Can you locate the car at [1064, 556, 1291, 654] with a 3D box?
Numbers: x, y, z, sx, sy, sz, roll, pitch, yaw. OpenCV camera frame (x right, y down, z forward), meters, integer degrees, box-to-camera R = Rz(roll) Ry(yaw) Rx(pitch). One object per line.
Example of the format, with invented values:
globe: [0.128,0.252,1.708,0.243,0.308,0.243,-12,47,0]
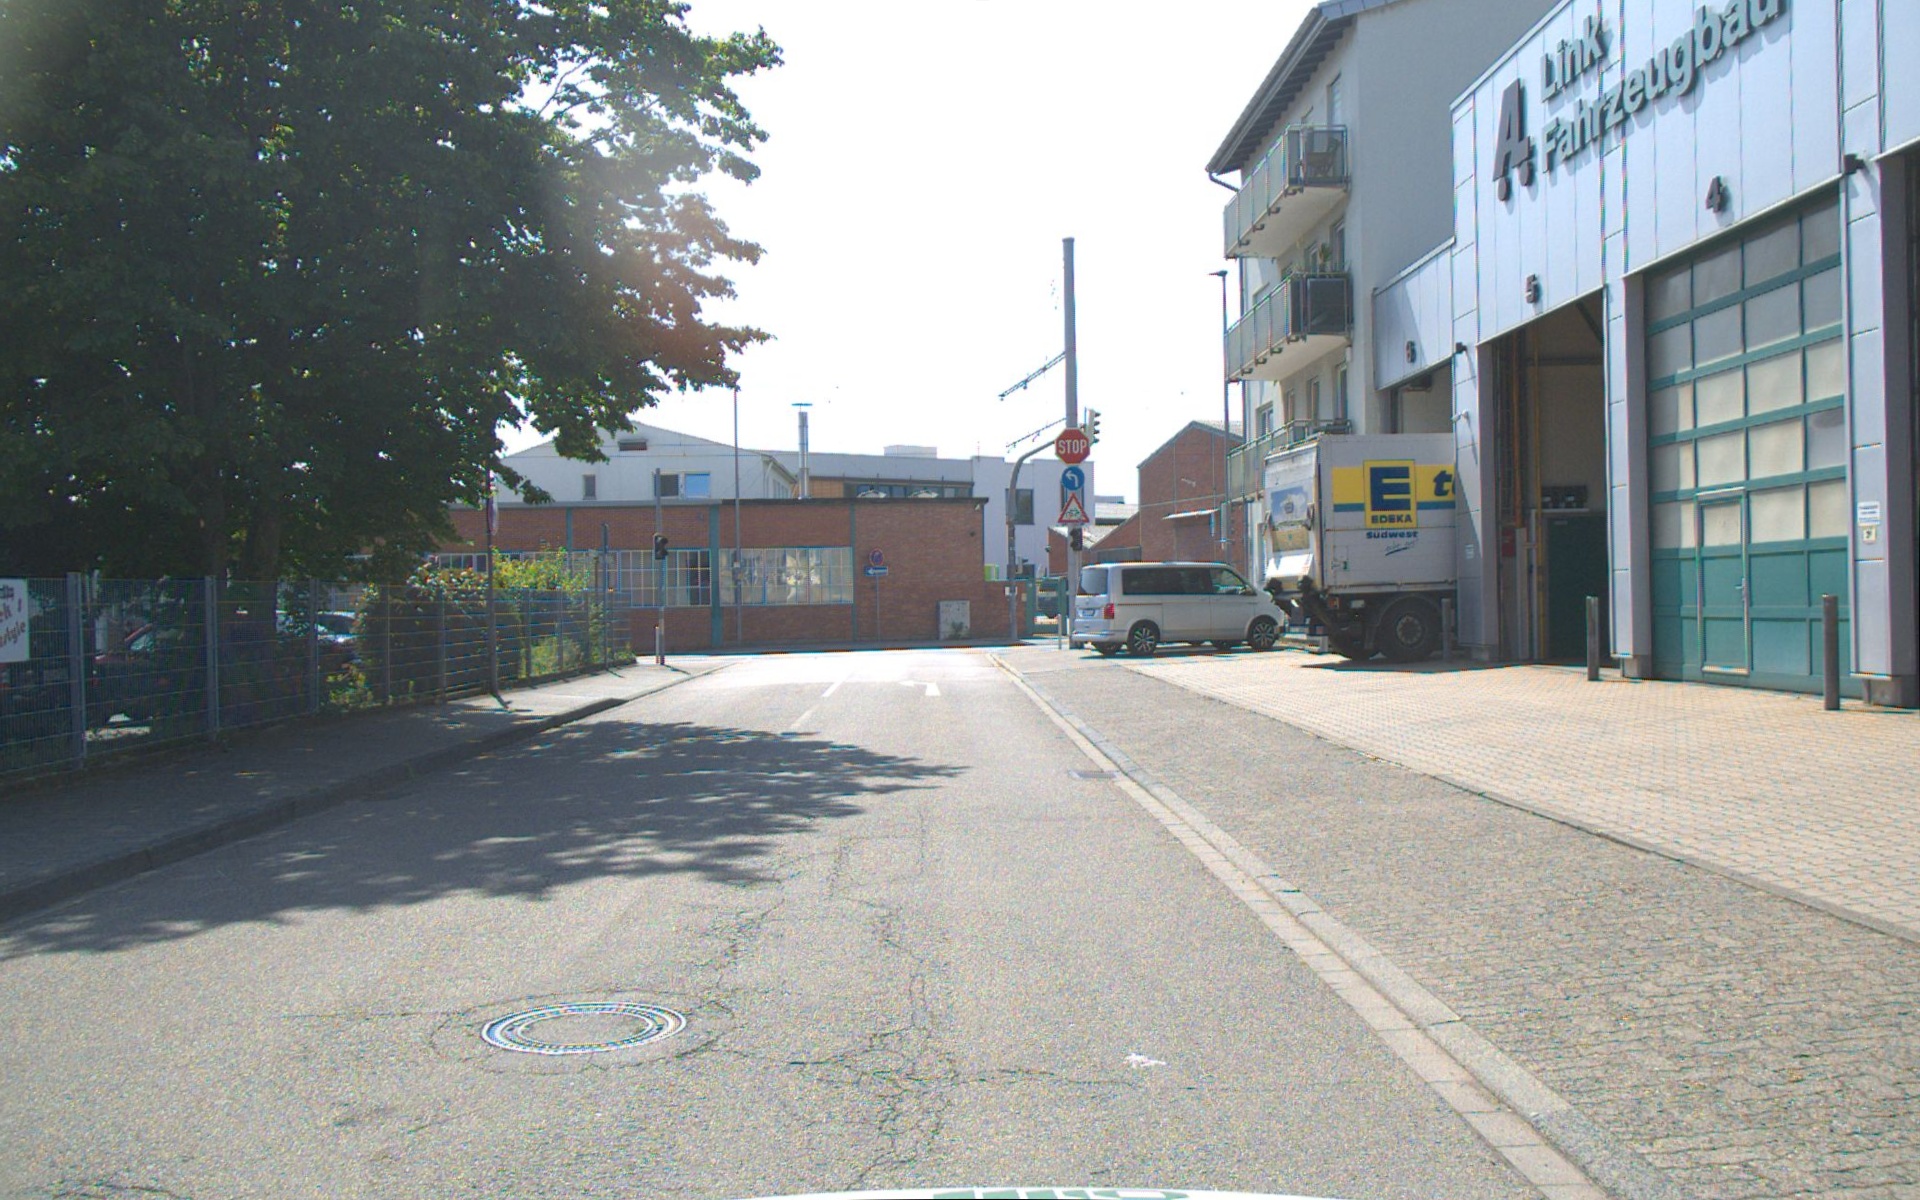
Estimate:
car: [4.761,0.095,36.313,4.586,1.992,1.905,-1,0,-21]

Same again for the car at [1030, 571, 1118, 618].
car: [5.608,-0.263,81.323,3.951,2.228,1.977,-1,0,-34]

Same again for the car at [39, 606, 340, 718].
car: [-11.266,0.884,24.352,3.586,1.503,1.735,-1,0,-2]

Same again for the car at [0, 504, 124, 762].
car: [-11.204,0.365,17.243,4.004,2.557,1.776,-1,0,-3]

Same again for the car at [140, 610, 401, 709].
car: [-11.437,0.971,27.583,3.583,1.503,1.737,-1,0,5]

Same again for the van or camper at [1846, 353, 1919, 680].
van or camper: [12.126,-0.901,17.302,4.663,3.346,1.998,-1,0,-5]

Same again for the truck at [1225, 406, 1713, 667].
truck: [8.496,-1.064,28.025,7.221,3.708,2.763,-4,0,-8]
